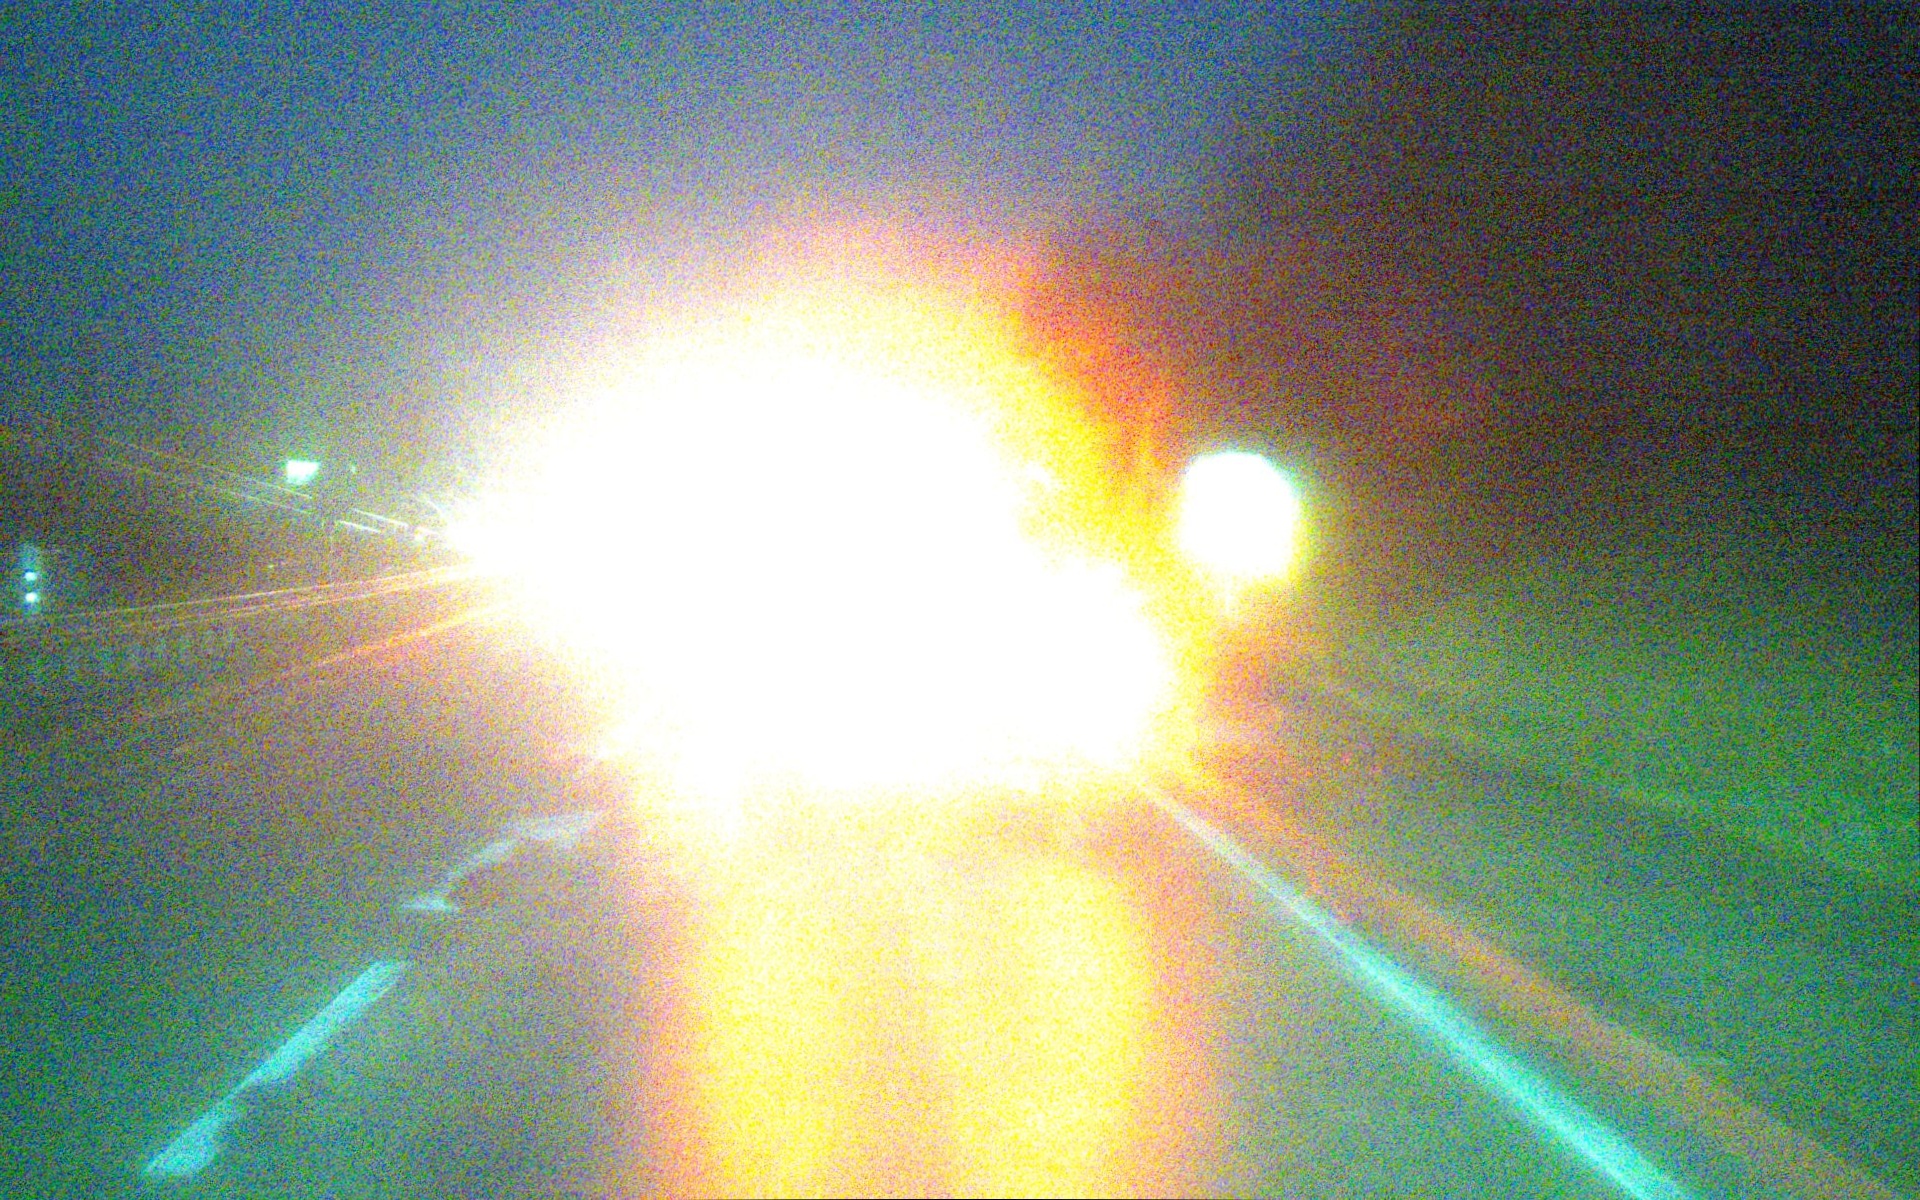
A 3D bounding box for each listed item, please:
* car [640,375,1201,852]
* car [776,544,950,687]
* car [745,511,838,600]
[{"bbox_3d":[-0.269,0.000,19.890,2.715,2.299,6.101,1,1,-1],"label":"car"},{"bbox_3d":[-1.218,0.135,40.907,1.879,1.575,4.786,0,1,-4],"label":"car"},{"bbox_3d":[-3.855,-1.031,79.113,1.993,1.908,4.000,-2,1,-2],"label":"car"}]
